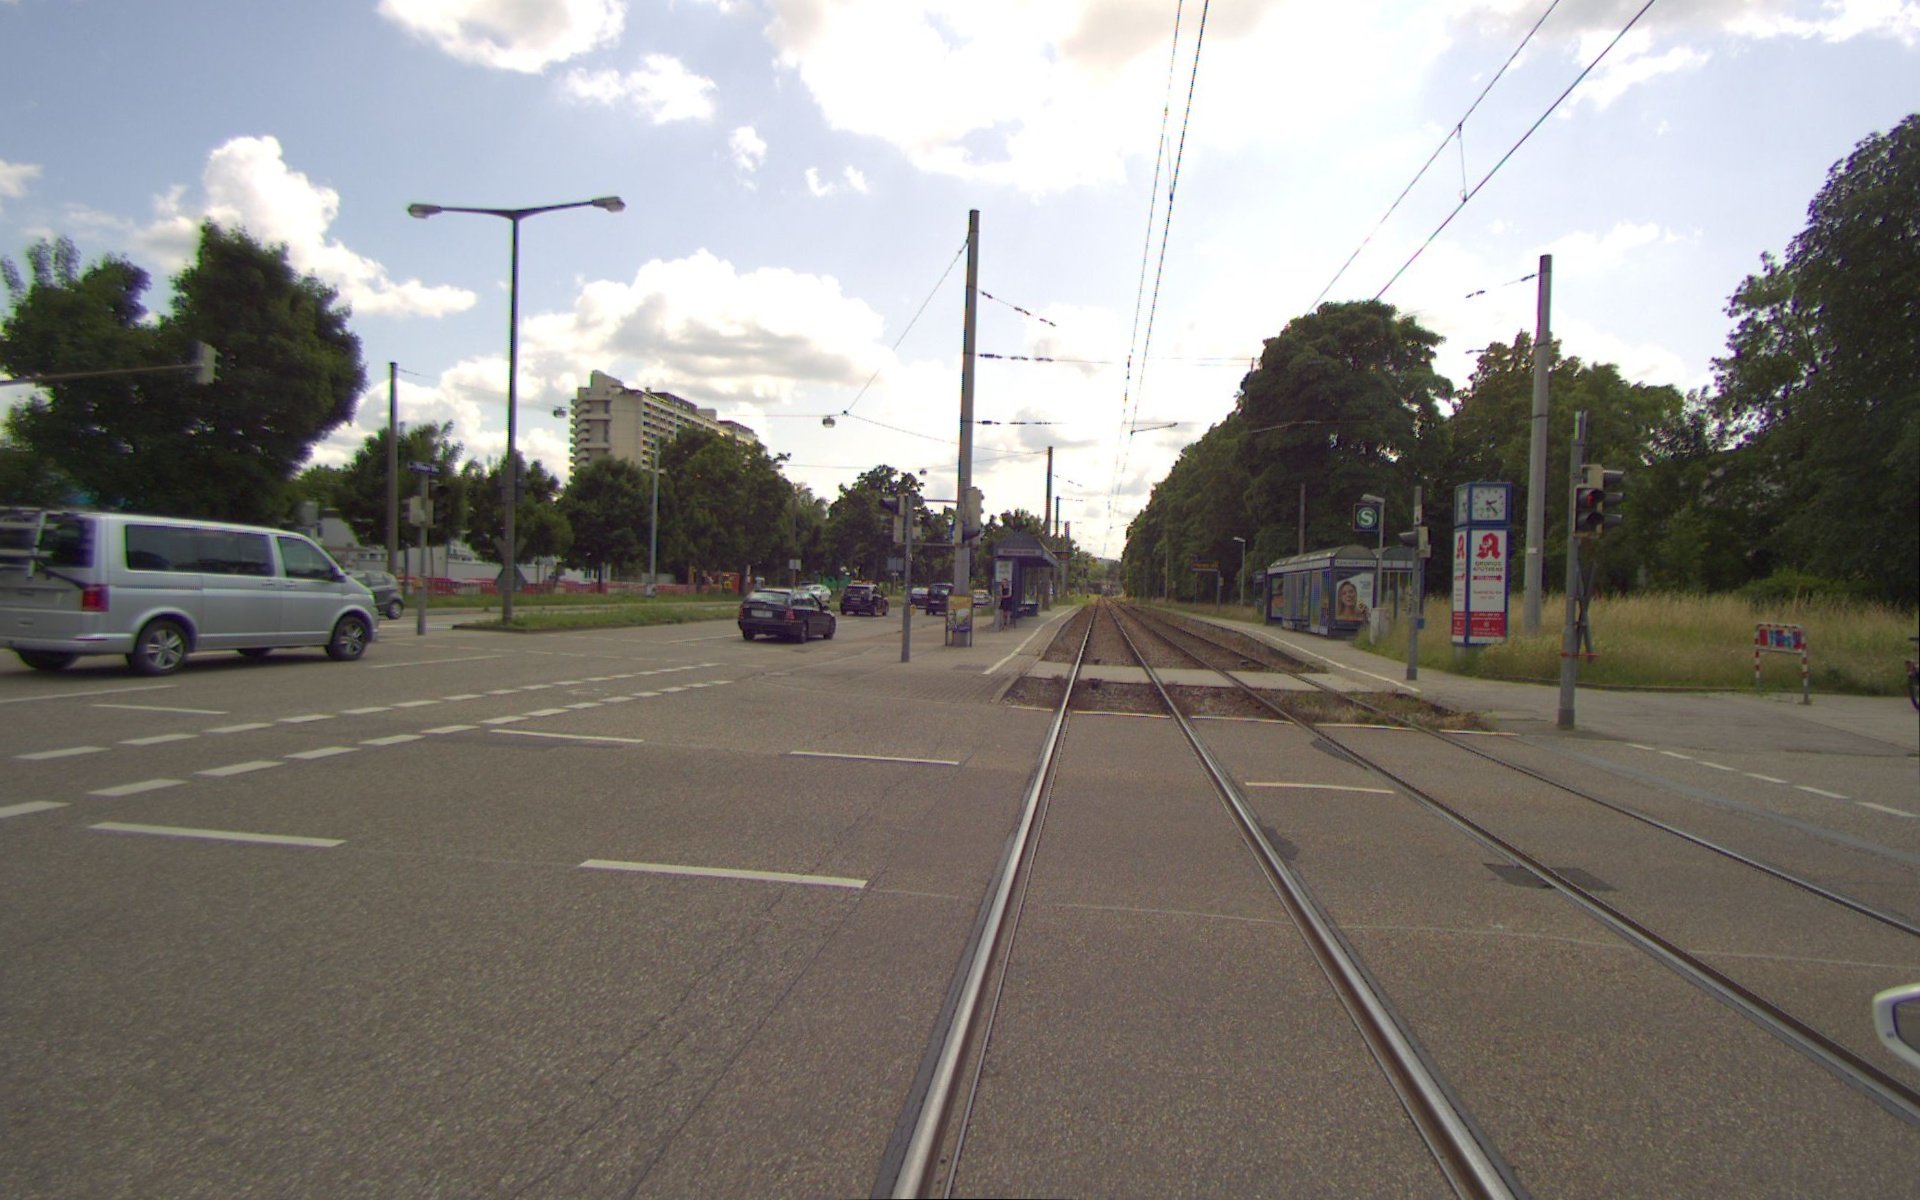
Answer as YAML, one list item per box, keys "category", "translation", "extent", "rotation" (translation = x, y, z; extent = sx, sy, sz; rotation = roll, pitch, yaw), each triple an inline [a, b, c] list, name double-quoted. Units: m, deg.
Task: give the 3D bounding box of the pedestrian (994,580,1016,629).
- category: "pedestrian"
  translation: [1.439, 0.152, 32.171]
  extent: [0.643, 1.534, 0.718]
  rotation: [2, 1, -1]

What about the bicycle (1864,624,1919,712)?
- category: "bicycle"
  translation: [13.757, 0.950, 14.338]
  extent: [1.639, 1.147, 0.696]
  rotation: [-1, 2, -26]

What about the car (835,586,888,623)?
- category: "car"
  translation: [-4.925, 0.218, 50.578]
  extent: [1.755, 1.690, 4.342]
  rotation: [3, 0, 6]

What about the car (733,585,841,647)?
- category: "car"
  translation: [-4.677, 0.386, 27.826]
  extent: [1.725, 1.485, 4.435]
  rotation: [3, 1, 6]

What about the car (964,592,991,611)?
- category: "car"
  translation: [1.504, 0.118, 85.164]
  extent: [1.755, 1.545, 4.303]
  rotation: [3, 0, 7]

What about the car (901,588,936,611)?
- category: "car"
  translation: [-2.920, -0.023, 71.834]
  extent: [1.832, 1.524, 4.002]
  rotation: [3, 0, 6]

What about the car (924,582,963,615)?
- category: "car"
  translation: [-0.947, -0.072, 59.391]
  extent: [1.729, 1.801, 3.911]
  rotation: [3, 0, 7]

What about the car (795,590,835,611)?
- category: "car"
  translation: [-11.376, 0.060, 79.295]
  extent: [1.959, 1.524, 4.175]
  rotation: [3, 0, 8]

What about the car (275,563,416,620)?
- category: "car"
  translation: [-19.070, -0.256, 31.370]
  extent: [1.755, 1.615, 3.774]
  rotation: [2, 1, 7]

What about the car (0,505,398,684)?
- category: "car"
  translation: [-10.351, -0.088, 13.692]
  extent: [1.782, 1.944, 5.235]
  rotation: [2, 0, 9]
